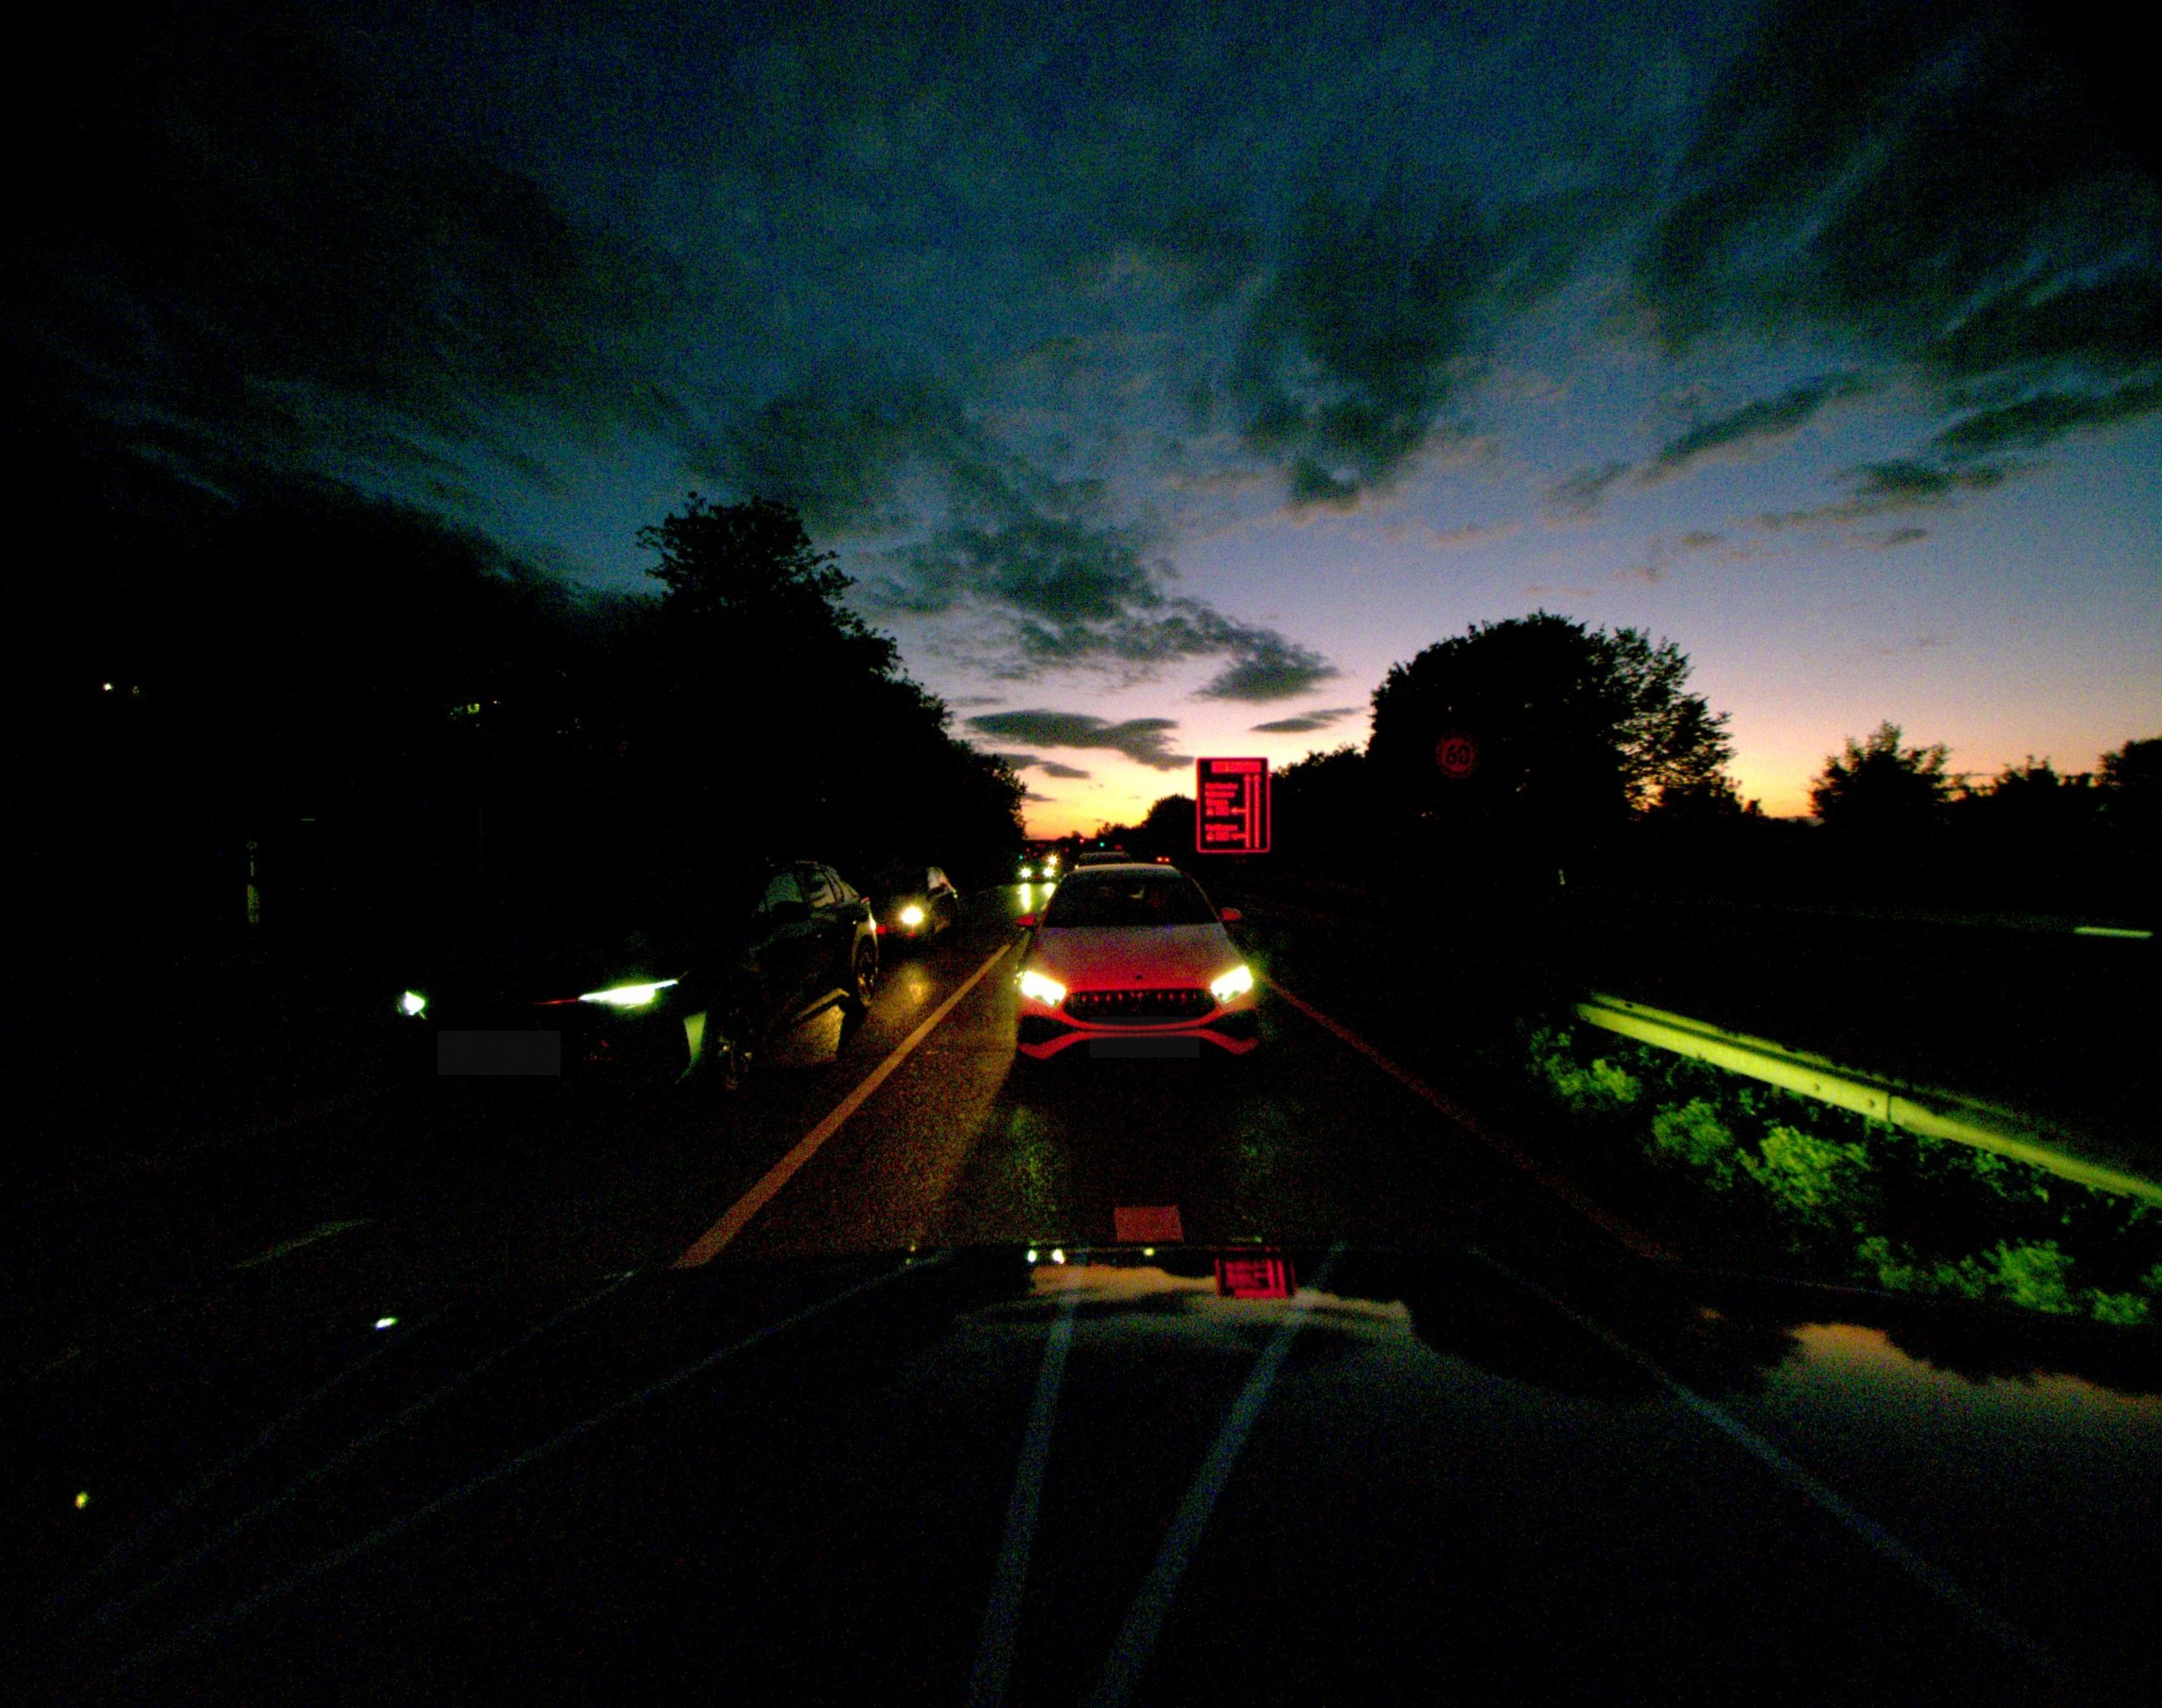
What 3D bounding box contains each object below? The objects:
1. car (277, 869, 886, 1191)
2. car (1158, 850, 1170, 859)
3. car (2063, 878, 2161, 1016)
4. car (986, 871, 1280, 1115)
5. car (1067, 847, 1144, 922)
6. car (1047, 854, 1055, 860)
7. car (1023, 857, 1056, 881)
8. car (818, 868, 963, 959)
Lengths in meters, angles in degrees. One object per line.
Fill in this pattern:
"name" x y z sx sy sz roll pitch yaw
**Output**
"car" -3.179 0.971 6.128 1.901 1.547 4.301 -3 0 2
"car" 14.818 0.094 135.432 1.781 1.551 4.000 -2 1 1
"car" 12.781 1.058 6.985 1.632 1.496 4.591 0 0 2
"car" 0.398 0.943 7.169 1.819 1.428 4.647 -2 0 2
"car" 0.646 0.738 19.989 1.760 1.692 4.250 -2 0 2
"car" -6.263 0.627 159.404 1.606 1.291 3.552 -2 1 -1
"car" -2.614 0.940 49.225 1.819 1.360 3.999 -2 1 1
"car" -3.373 0.996 14.132 1.621 1.405 3.756 -1 0 2
